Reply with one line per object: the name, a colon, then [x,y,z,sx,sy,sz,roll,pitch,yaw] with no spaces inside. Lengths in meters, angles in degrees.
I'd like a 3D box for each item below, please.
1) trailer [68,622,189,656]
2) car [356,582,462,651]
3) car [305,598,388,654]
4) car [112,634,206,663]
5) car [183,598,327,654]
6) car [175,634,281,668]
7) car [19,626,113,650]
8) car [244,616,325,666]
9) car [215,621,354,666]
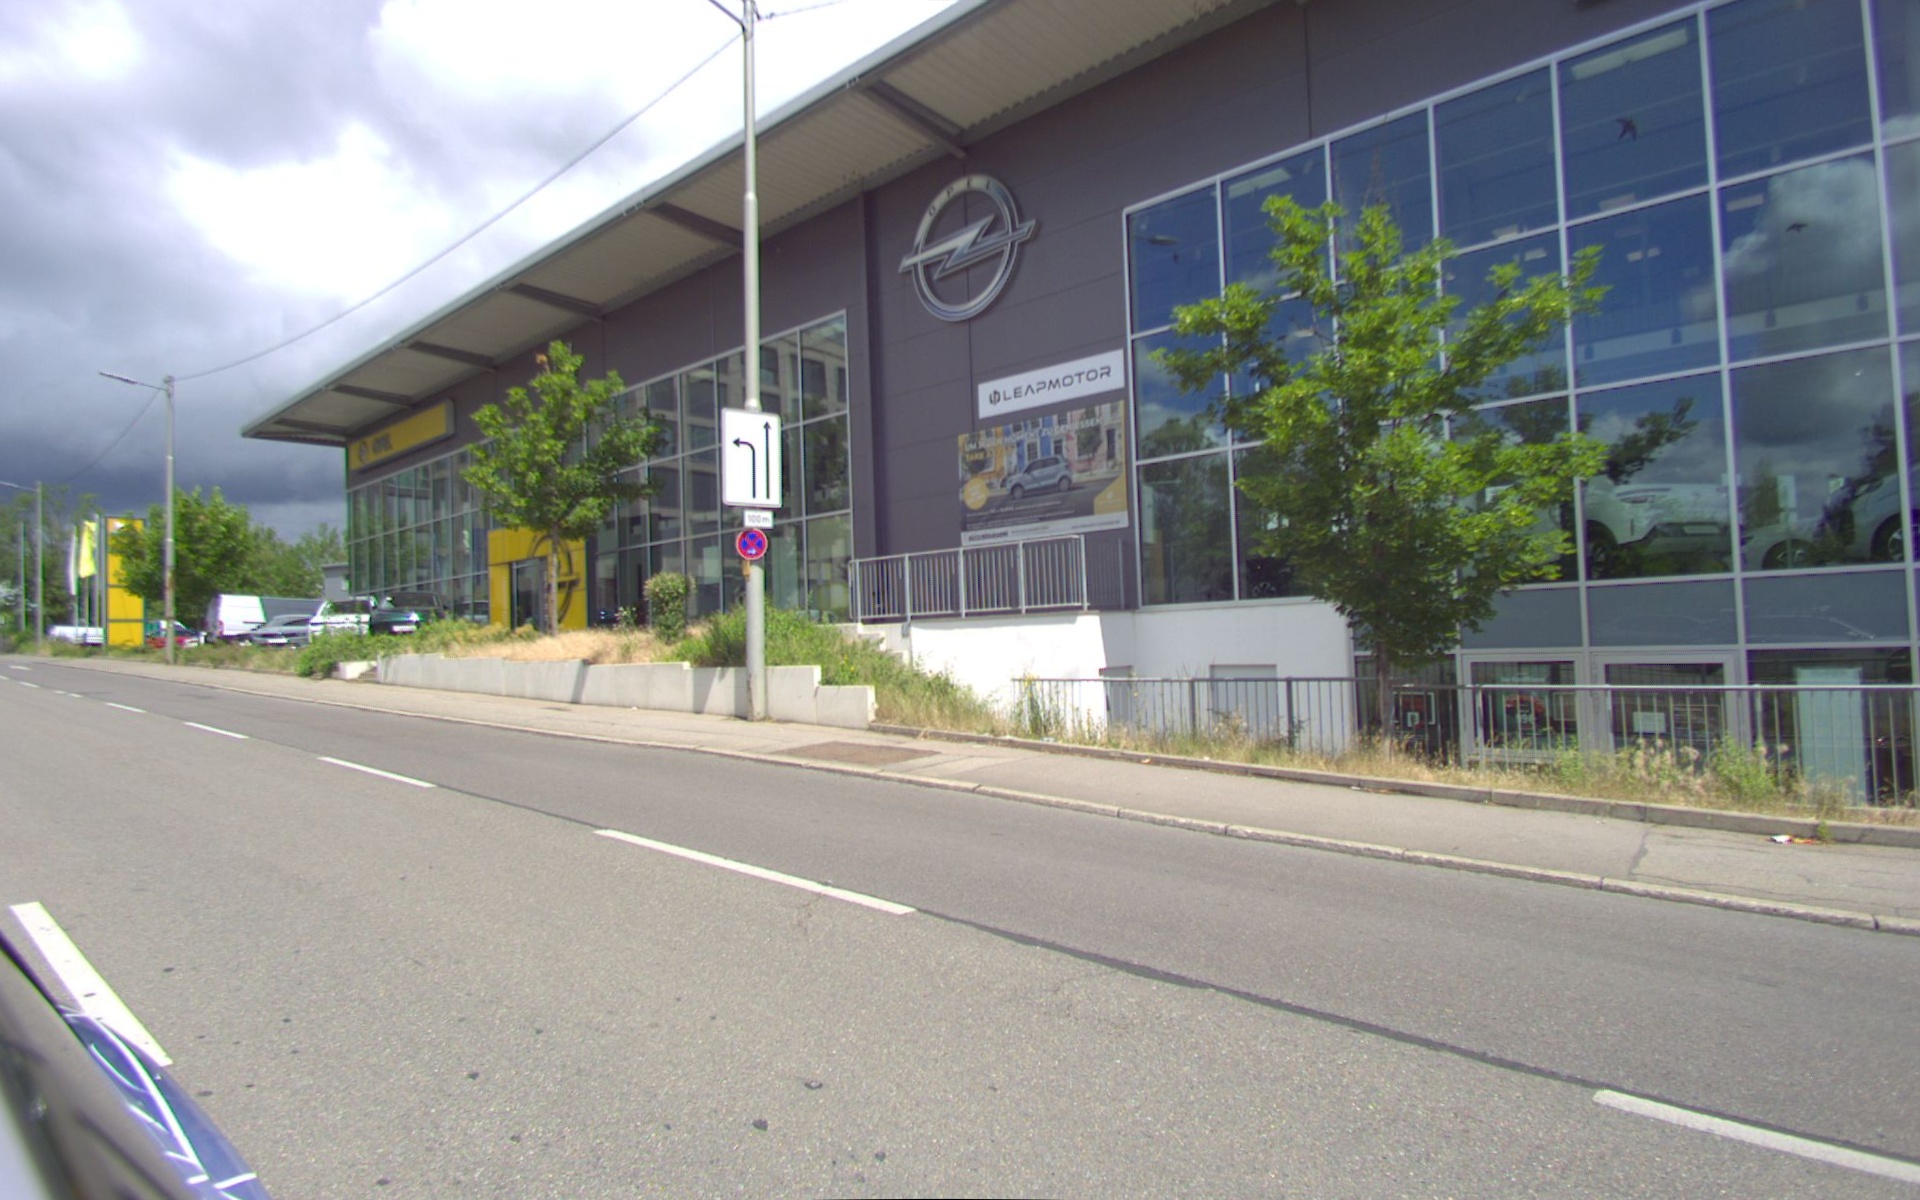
trailer: [-45.318,2.120,55.244,2.092,1.765,4.776,-2,-2,37]
car: [-15.471,0.491,28.642,1.791,1.625,4.121,-6,0,-18]
car: [-19.197,0.806,31.826,1.767,1.625,4.122,0,-1,-25]
car: [-42.013,2.527,53.117,1.814,1.420,3.621,-2,-2,42]
car: [-29.227,1.062,42.082,2.175,2.211,4.479,-1,-1,36]
car: [-35.520,2.447,49.180,1.559,1.539,3.897,-2,-2,38]
car: [-57.509,2.441,65.147,2.093,1.493,4.200,-2,-2,38]
car: [-23.481,1.397,35.304,1.767,1.625,4.122,1,-2,-26]
car: [-25.728,1.641,38.689,1.792,1.625,4.064,-2,-2,32]
